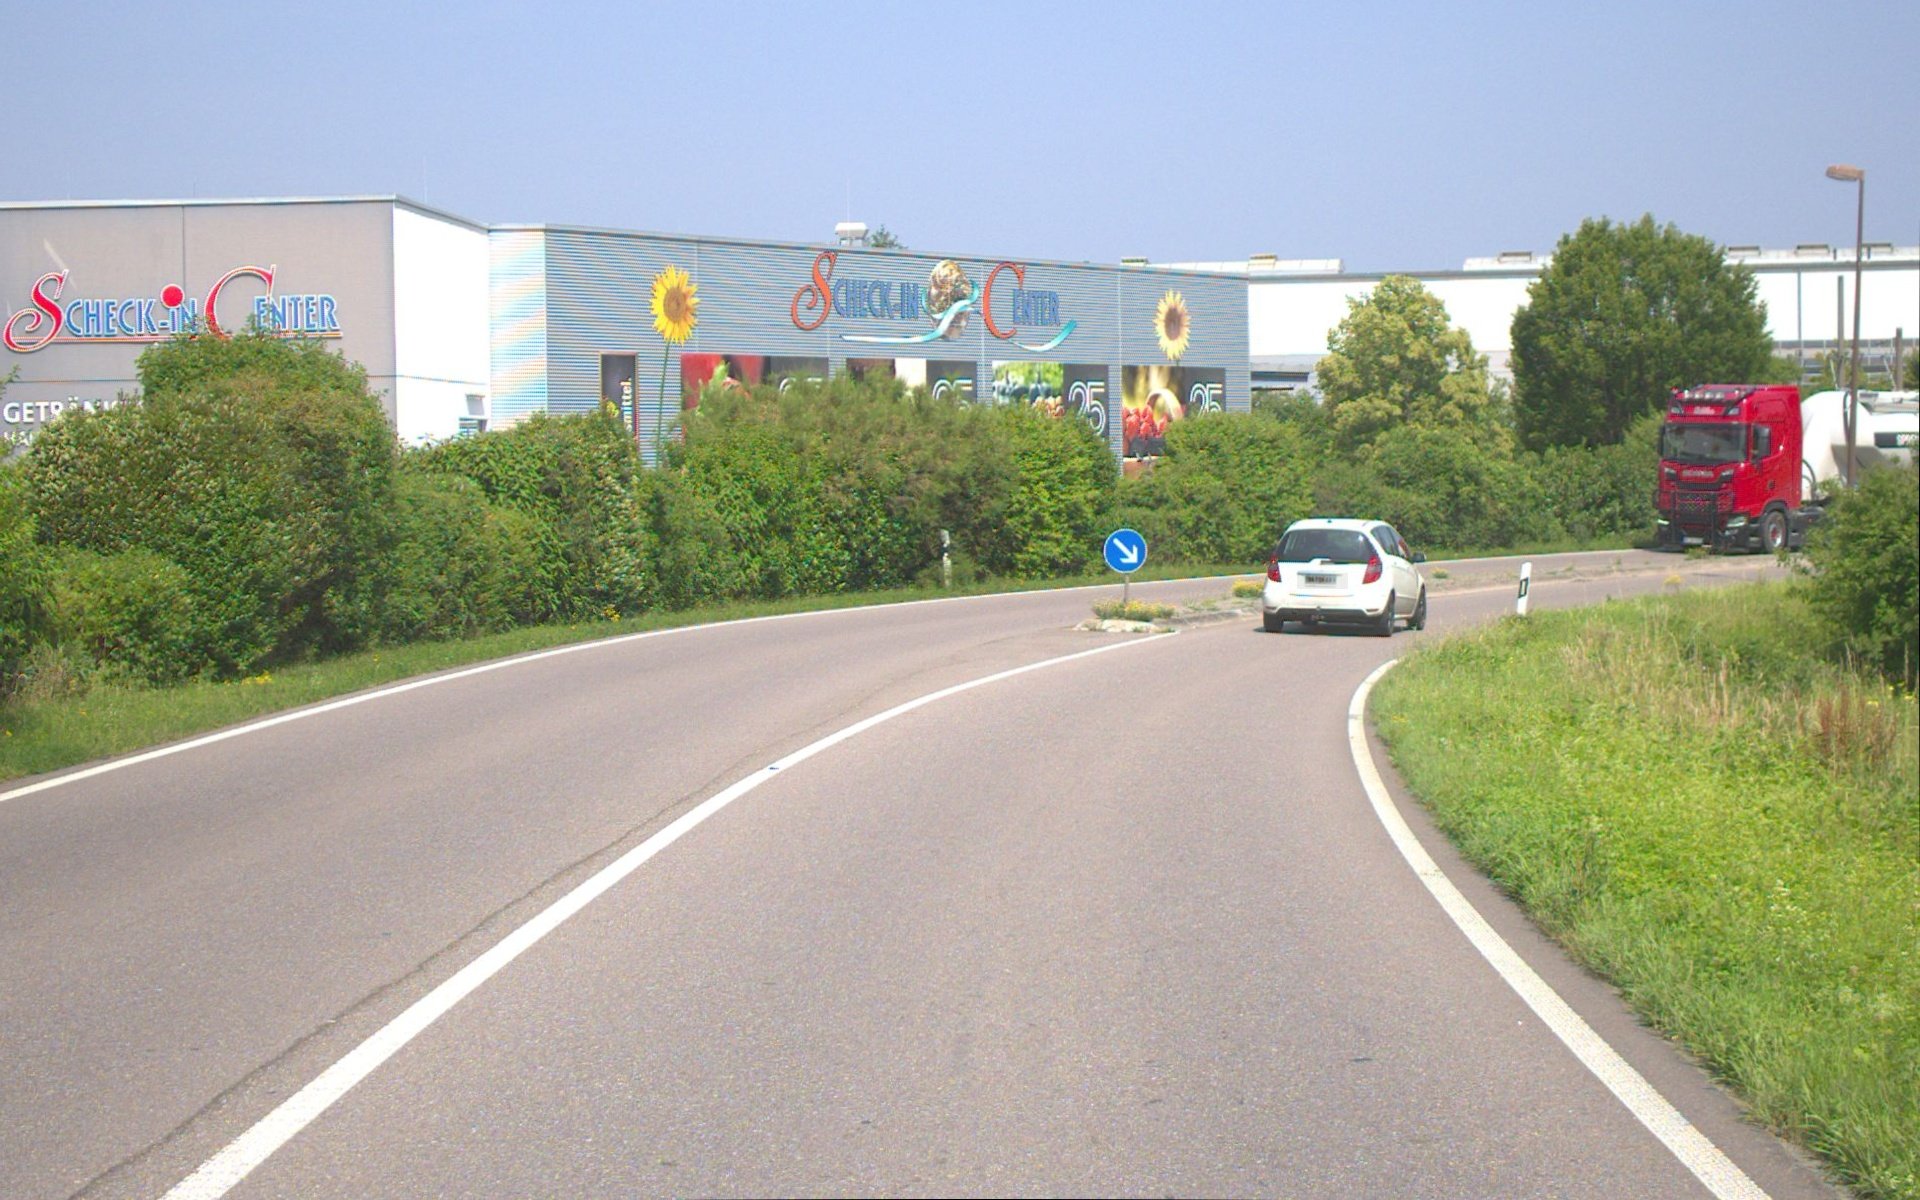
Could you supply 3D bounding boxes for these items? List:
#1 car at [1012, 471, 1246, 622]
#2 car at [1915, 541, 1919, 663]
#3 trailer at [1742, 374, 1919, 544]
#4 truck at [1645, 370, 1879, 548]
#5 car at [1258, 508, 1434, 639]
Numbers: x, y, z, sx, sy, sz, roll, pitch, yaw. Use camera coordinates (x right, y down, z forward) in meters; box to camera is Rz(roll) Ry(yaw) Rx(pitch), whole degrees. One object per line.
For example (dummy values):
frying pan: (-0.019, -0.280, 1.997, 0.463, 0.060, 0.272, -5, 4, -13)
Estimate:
car: (2.411, -0.750, 48.048, 1.996, 2.007, 3.995, 1, 1, 23)
car: (16.682, 0.048, 55.948, 1.995, 2.007, 3.998, 1, 1, 13)
trailer: (23.355, -3.427, 86.045, 8.672, 4.016, 2.887, 0, 1, -42)
truck: (19.222, -3.298, 82.131, 2.888, 4.016, 6.707, 1, 1, 37)
car: (5.467, -0.394, 48.291, 1.782, 1.597, 3.890, 6, 2, 14)
